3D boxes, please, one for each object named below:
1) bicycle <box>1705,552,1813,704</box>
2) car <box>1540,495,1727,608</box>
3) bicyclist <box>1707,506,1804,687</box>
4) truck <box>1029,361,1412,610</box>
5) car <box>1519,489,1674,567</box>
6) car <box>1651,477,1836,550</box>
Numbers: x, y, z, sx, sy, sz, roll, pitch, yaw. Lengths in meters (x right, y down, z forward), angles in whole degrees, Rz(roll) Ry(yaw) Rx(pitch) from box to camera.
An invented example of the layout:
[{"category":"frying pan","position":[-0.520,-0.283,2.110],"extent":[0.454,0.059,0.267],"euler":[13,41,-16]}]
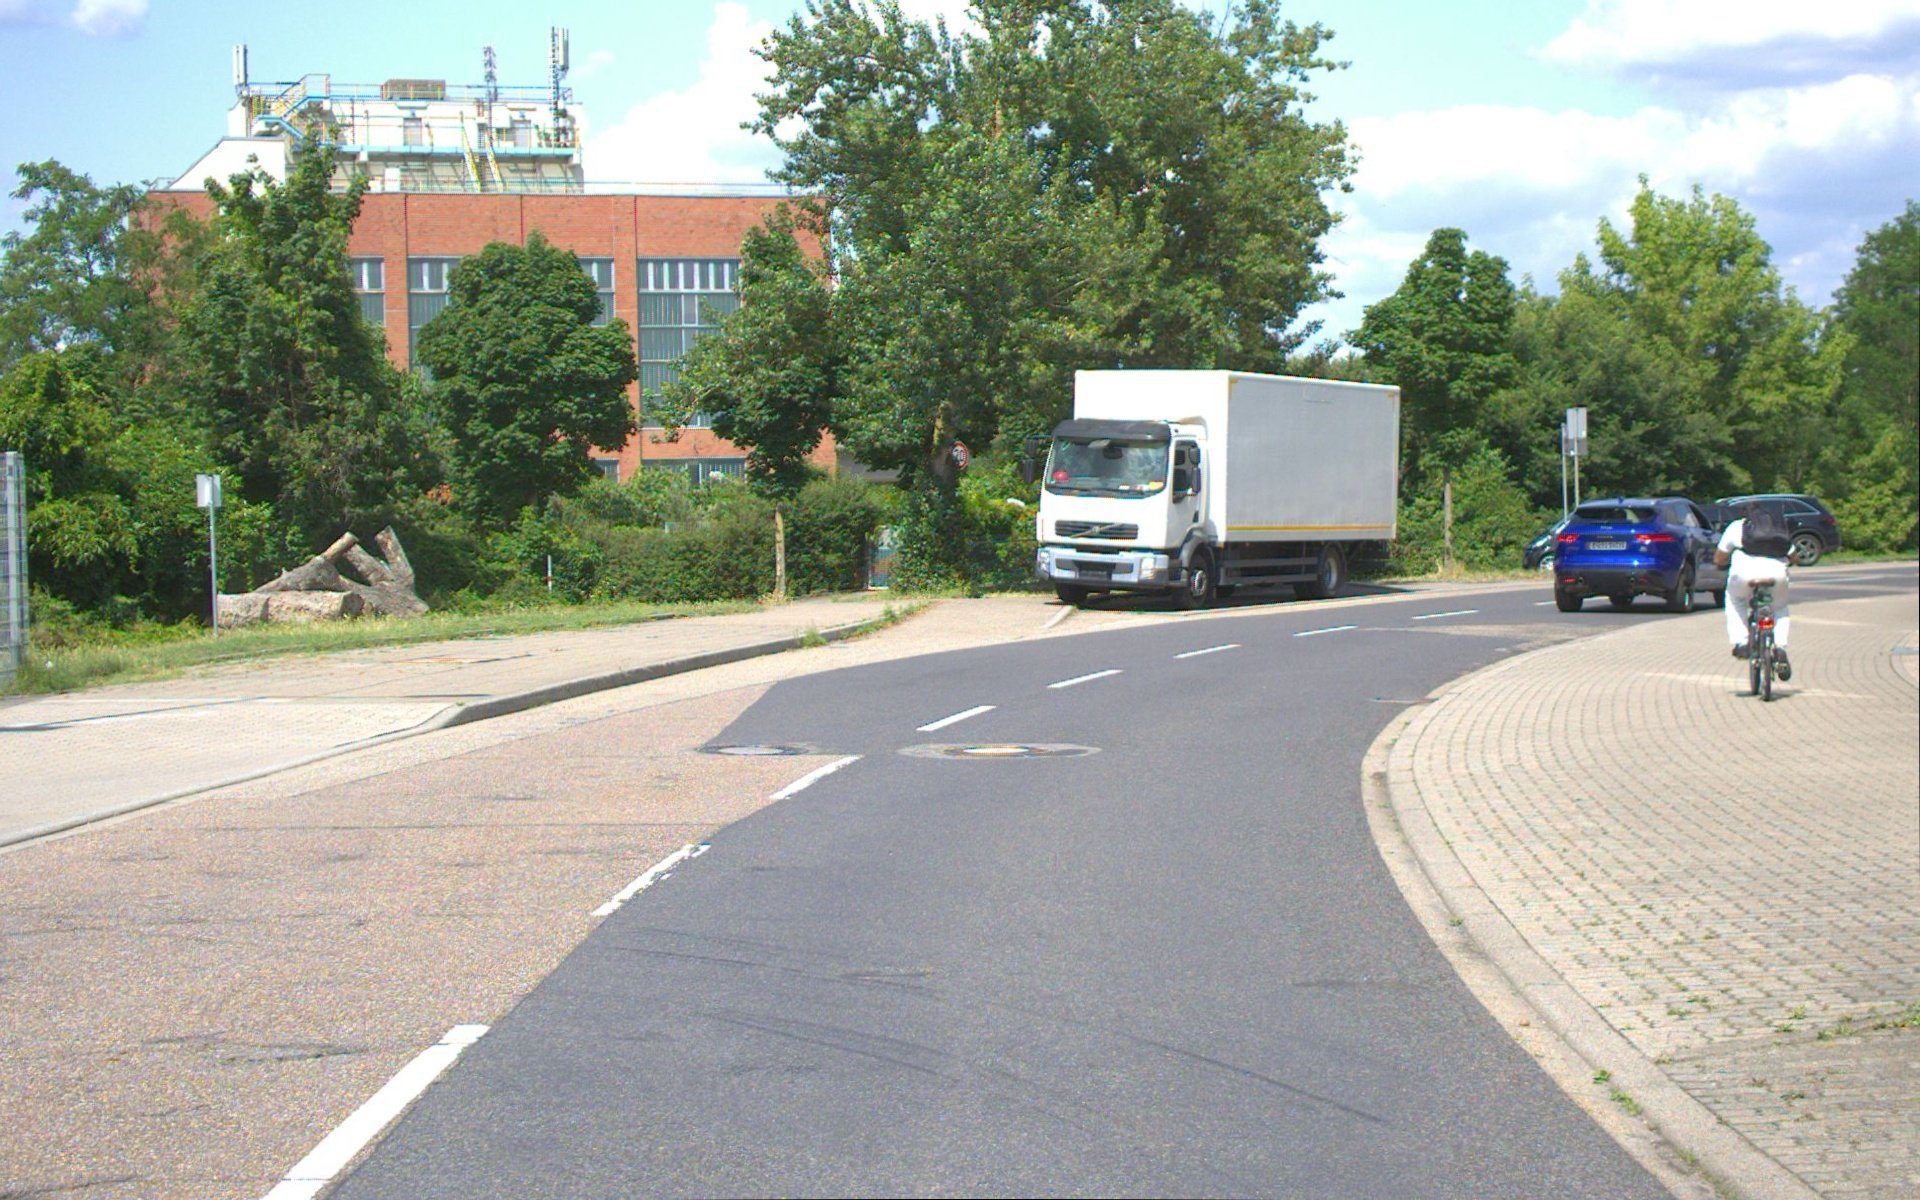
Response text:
[{"category":"bicycle","position":[6.284,0.198,27.098],"extent":[0.666,1.105,2.167],"euler":[-1,1,9]},{"category":"car","position":[10.072,-0.737,51.169],"extent":[1.911,1.588,4.696],"euler":[0,1,21]},{"category":"bicyclist","position":[6.267,-0.036,27.109],"extent":[0.663,1.393,0.858],"euler":[-1,1,10]},{"category":"truck","position":[4.281,-1.855,53.879],"extent":[2.325,3.555,9.353],"euler":[1,3,29]},{"category":"car","position":[13.230,-1.495,71.559],"extent":[2.898,1.564,1.890],"euler":[-1,1,2]},{"category":"car","position":[17.601,-1.929,77.286],"extent":[3.627,1.564,1.890],"euler":[-1,1,-5]}]
